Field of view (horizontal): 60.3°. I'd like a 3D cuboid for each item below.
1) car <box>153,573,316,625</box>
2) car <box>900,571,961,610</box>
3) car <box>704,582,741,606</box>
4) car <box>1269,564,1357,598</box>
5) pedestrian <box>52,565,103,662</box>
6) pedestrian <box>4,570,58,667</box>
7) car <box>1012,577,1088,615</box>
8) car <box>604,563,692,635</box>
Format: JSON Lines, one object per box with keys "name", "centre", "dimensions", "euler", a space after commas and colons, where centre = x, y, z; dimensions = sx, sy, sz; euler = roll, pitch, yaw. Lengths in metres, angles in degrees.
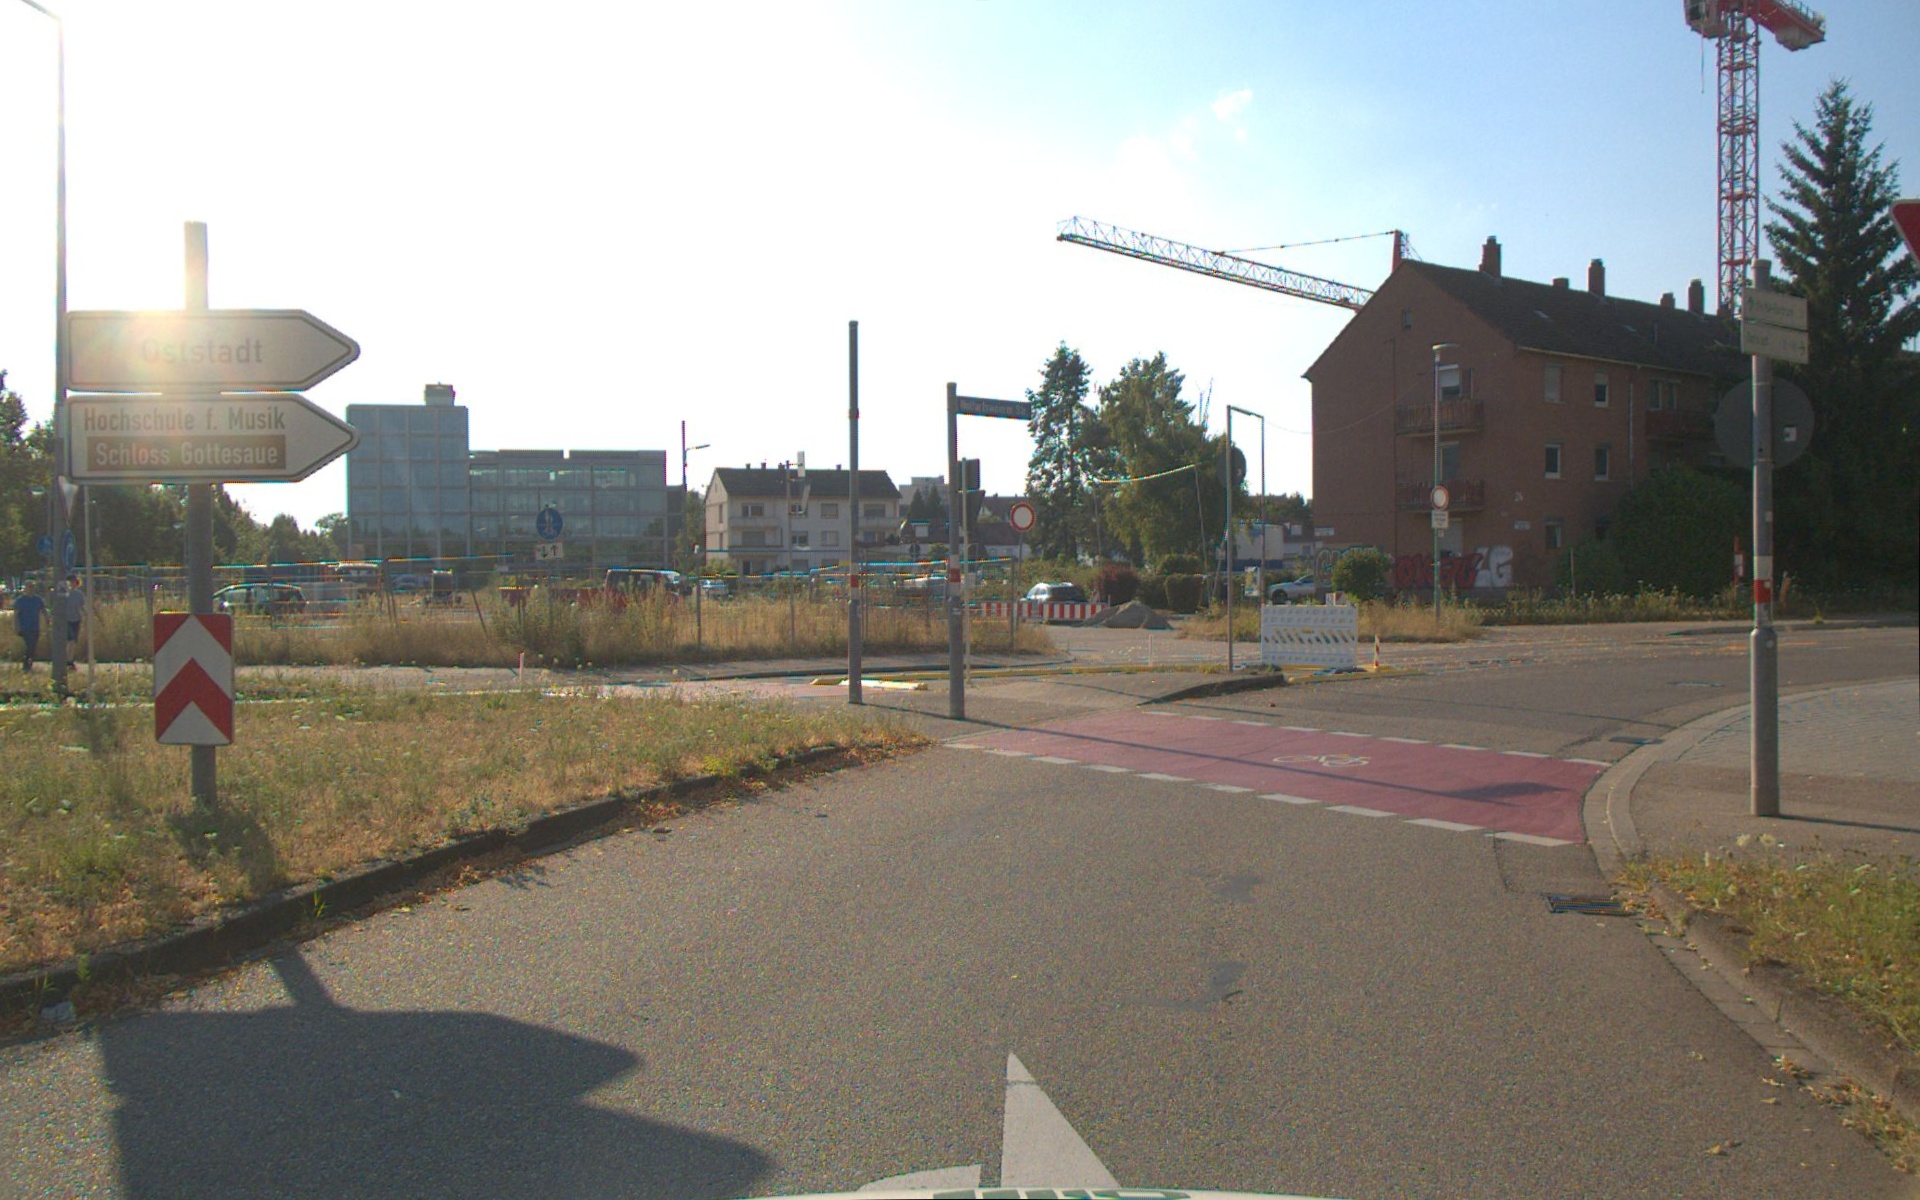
{"name": "car", "centre": [-20.841, -0.046, 47.534], "dimensions": [4.180, 1.387, 1.983], "euler": [-1, 1, -27]}
{"name": "car", "centre": [-1.561, -0.498, 86.444], "dimensions": [1.837, 1.981, 3.973], "euler": [-1, 1, -22]}
{"name": "car", "centre": [-19.250, -0.469, 133.819], "dimensions": [2.115, 1.870, 4.335], "euler": [-1, 1, -20]}
{"name": "car", "centre": [17.066, -0.937, 79.856], "dimensions": [3.904, 1.556, 2.001], "euler": [-1, 1, 20]}
{"name": "pedestrian", "centre": [-16.695, 0.248, 31.286], "dimensions": [0.751, 1.806, 0.762], "euler": [-1, 1, -35]}
{"name": "pedestrian", "centre": [-17.114, 0.334, 30.471], "dimensions": [0.777, 1.738, 0.802], "euler": [-1, 1, -35]}
{"name": "car", "centre": [3.830, -0.182, 71.232], "dimensions": [1.963, 1.579, 3.979], "euler": [-1, 1, -18]}
{"name": "car", "centre": [-9.432, -0.066, 50.415], "dimensions": [1.954, 2.049, 5.310], "euler": [-1, 1, -3]}
